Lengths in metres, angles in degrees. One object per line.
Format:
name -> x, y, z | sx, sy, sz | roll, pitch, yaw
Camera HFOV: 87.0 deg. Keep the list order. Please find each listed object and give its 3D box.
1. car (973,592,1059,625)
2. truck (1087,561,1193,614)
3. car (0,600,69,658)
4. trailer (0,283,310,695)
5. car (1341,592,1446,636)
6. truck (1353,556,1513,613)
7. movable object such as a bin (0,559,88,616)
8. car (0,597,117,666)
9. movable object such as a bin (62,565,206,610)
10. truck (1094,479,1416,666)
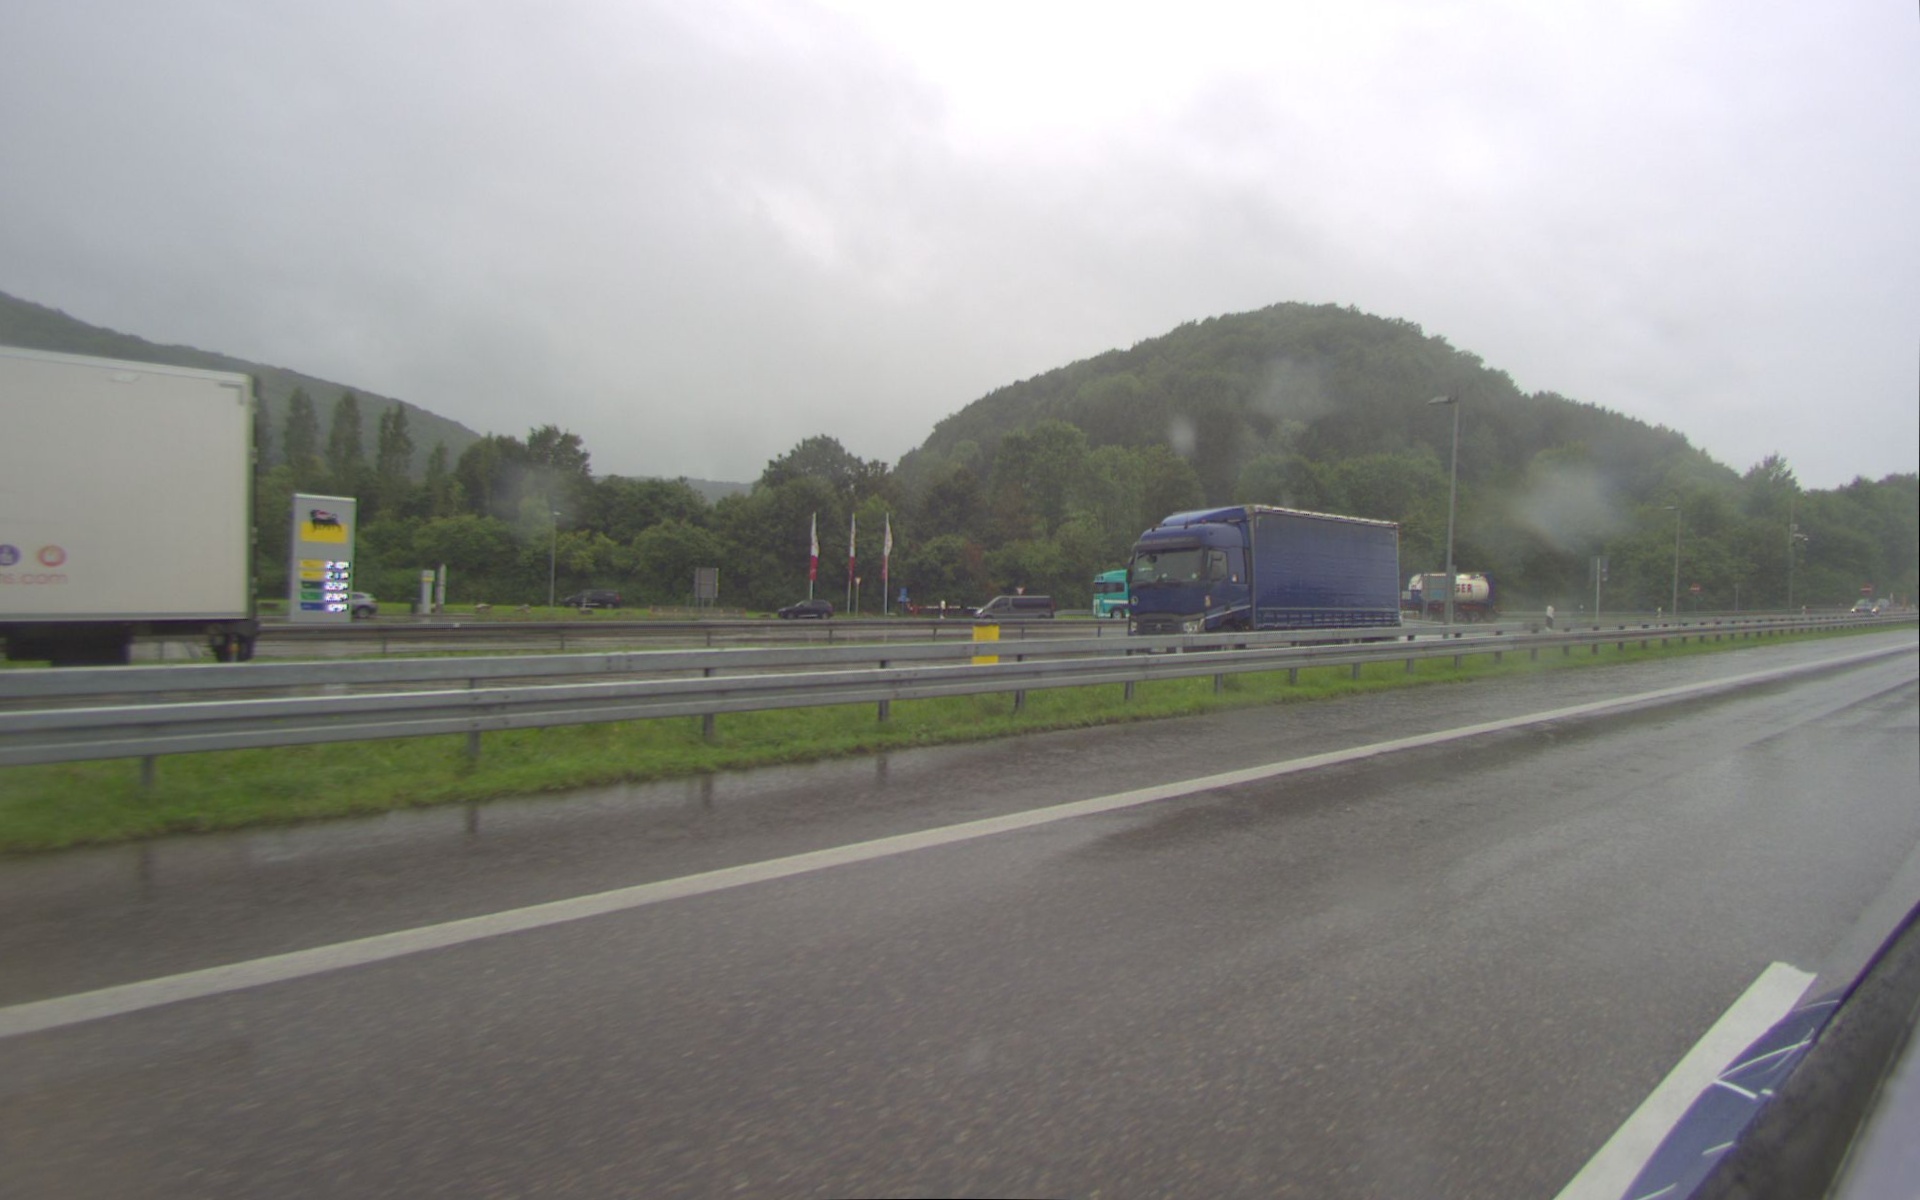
car -> 3.493, 0.521, 63.249 | 4.948, 2.039, 2.004 | 0, 0, -19
truck -> 13.637, -0.918, 77.000 | 7.382, 3.916, 2.760 | 0, 0, -6
car -> -29.520, 0.867, 30.376 | 4.024, 1.719, 1.998 | 0, 0, -39
trailer -> -13.528, -1.140, 9.966 | 11.708, 4.315, 3.523 | -1, 0, -40
car -> 18.794, 0.567, 43.747 | 5.564, 1.772, 1.996 | -1, 0, -41
truck -> 37.162, -1.229, 79.570 | 11.630, 4.310, 2.884 | 0, 0, -8
movable object such as a bin -> -38.331, -0.484, 40.182 | 5.625, 2.217, 1.997 | -1, 0, -41
car -> -28.879, 0.952, 31.574 | 3.930, 2.039, 1.964 | 0, 0, -41
movable object such as a bin -> -39.723, -0.606, 48.756 | 5.290, 2.039, 2.170 | -1, 0, -41
truck -> 8.773, -0.648, 28.909 | 10.853, 4.458, 3.407 | 0, -1, -40
